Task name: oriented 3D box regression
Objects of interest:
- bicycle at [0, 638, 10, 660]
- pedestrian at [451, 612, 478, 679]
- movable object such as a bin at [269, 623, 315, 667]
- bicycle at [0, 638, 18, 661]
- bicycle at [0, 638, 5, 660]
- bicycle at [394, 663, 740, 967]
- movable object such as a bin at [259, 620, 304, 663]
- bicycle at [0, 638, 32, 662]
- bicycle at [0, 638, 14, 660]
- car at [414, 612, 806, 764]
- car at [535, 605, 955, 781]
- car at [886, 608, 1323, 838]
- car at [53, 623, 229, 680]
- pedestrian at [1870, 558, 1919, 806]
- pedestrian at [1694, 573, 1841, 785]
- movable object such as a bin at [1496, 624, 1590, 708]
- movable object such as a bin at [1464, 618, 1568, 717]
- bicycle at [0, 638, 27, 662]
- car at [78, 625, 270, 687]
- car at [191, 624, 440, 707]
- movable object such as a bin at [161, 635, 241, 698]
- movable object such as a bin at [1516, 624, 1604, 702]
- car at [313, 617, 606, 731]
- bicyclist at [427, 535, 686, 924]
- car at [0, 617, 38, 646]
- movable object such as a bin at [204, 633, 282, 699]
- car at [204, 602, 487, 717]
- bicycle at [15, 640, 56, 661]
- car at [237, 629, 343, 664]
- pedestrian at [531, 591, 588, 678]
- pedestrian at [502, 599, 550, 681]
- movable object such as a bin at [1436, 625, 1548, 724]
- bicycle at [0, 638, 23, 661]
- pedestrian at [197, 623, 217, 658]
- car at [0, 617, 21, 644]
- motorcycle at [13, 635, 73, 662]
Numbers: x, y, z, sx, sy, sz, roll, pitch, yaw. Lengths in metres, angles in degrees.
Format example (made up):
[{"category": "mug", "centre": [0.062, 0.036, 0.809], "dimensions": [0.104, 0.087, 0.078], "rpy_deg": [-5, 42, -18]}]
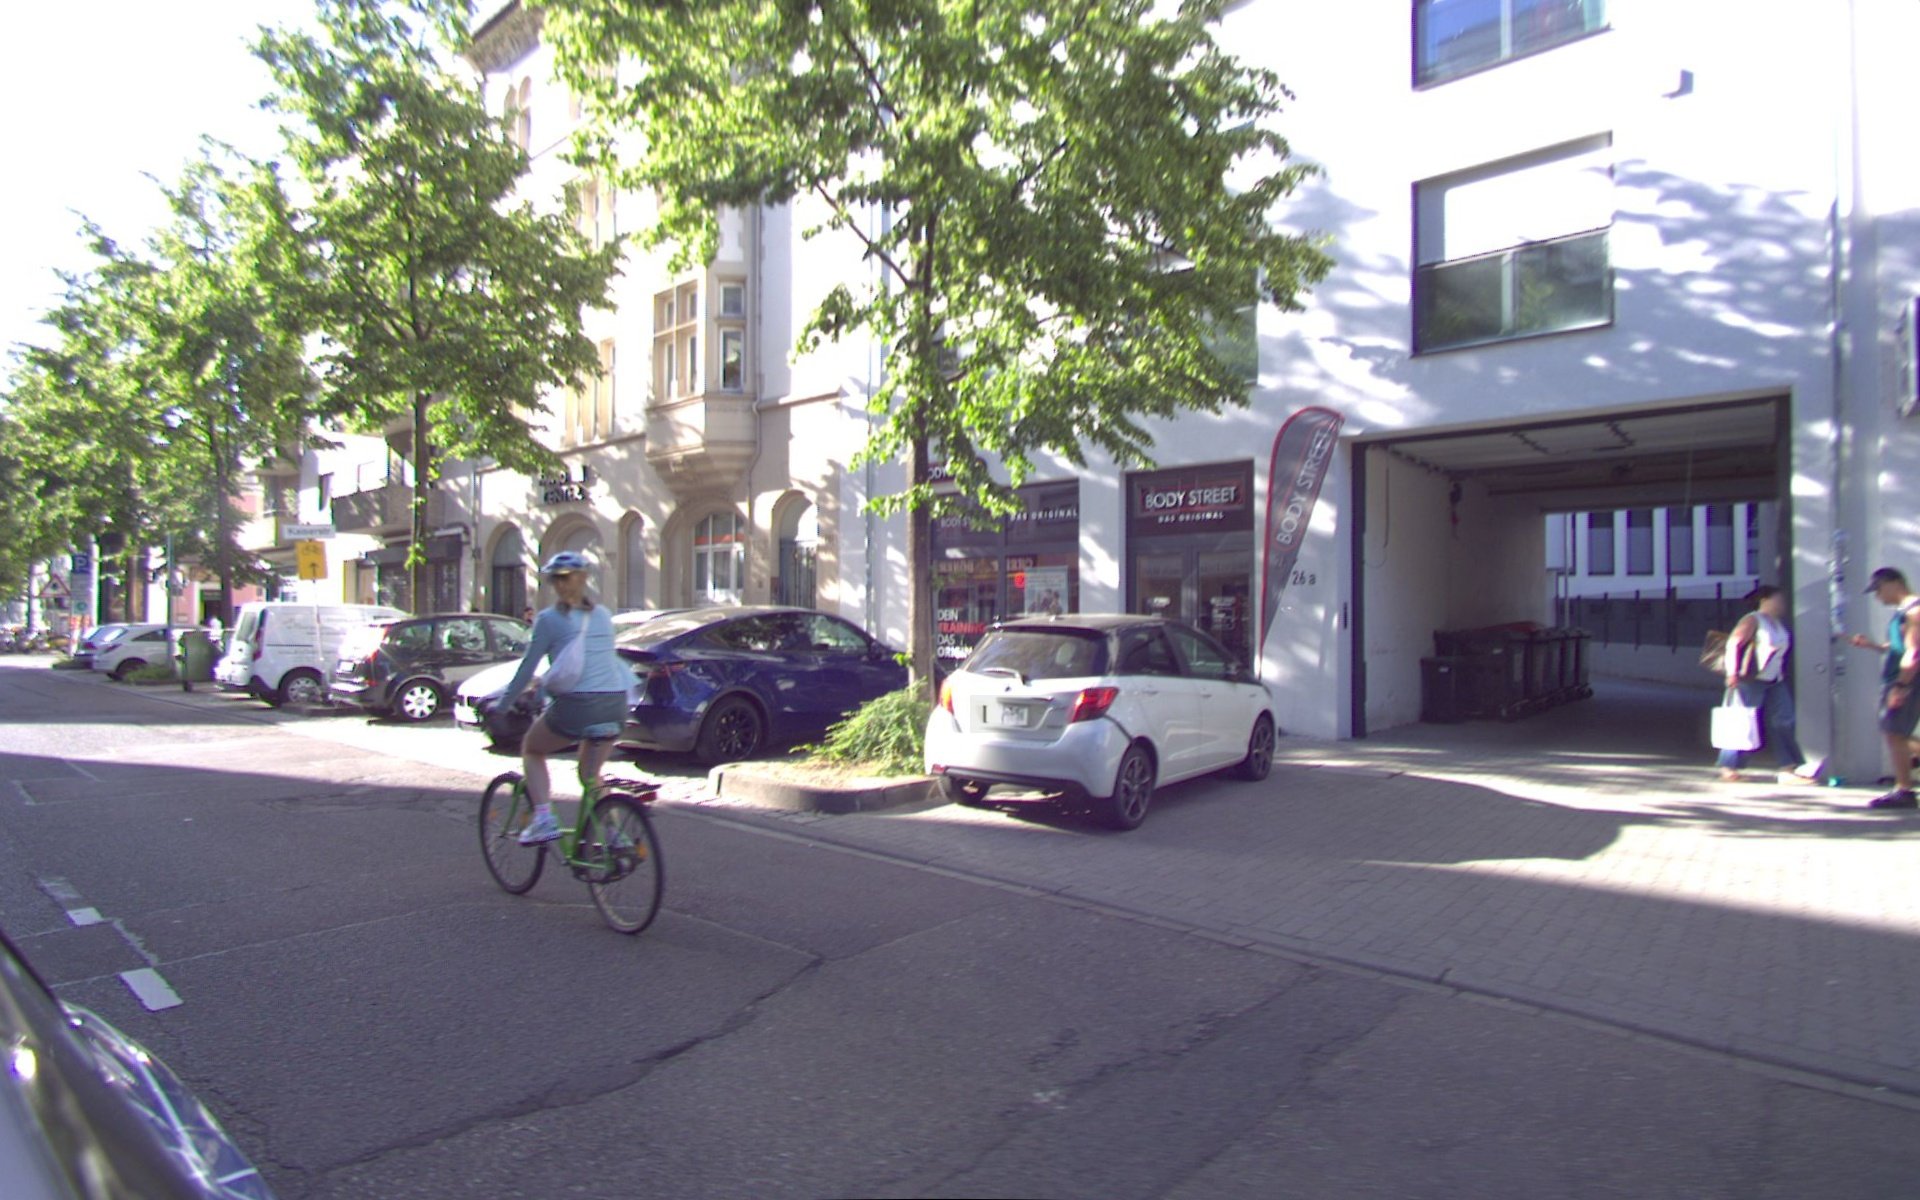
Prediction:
[{"category": "bicycle", "centre": [-45.644, 2.303, 47.152], "dimensions": [0.471, 1.037, 1.987], "rpy_deg": [-1, 0, 28]}, {"category": "pedestrian", "centre": [-12.744, 1.159, 26.022], "dimensions": [0.639, 1.684, 0.429], "rpy_deg": [-1, -1, 44]}, {"category": "movable object such as a bin", "centre": [-22.972, 1.525, 34.789], "dimensions": [1.258, 1.471, 1.022], "rpy_deg": [-2, -3, 42]}, {"category": "bicycle", "centre": [-44.872, 2.291, 46.728], "dimensions": [0.471, 1.037, 1.987], "rpy_deg": [-1, 0, 28]}, {"category": "bicycle", "centre": [-46.118, 2.313, 47.397], "dimensions": [0.471, 1.037, 1.987], "rpy_deg": [-1, 0, 28]}, {"category": "bicycle", "centre": [-2.078, 0.941, 5.162], "dimensions": [2.196, 1.178, 0.717], "rpy_deg": [-2, -2, 42]}, {"category": "movable object such as a bin", "centre": [-23.958, 1.469, 35.716], "dimensions": [1.258, 1.471, 1.022], "rpy_deg": [-2, -3, 42]}, {"category": "bicycle", "centre": [-43.538, 2.278, 45.965], "dimensions": [0.471, 1.037, 1.987], "rpy_deg": [-1, 0, 28]}, {"category": "bicycle", "centre": [-45.253, 2.297, 46.932], "dimensions": [0.471, 1.037, 1.987], "rpy_deg": [-1, 0, 28]}, {"category": "car", "centre": [-4.243, 0.961, 12.831], "dimensions": [1.945, 1.582, 4.320], "rpy_deg": [-1, -2, 41]}, {"category": "car", "centre": [-2.219, 0.883, 11.401], "dimensions": [1.979, 1.582, 4.320], "rpy_deg": [-1, -2, 41]}, {"category": "car", "centre": [1.479, 0.839, 8.779], "dimensions": [1.977, 1.470, 4.206], "rpy_deg": [-1, -2, 37]}, {"category": "car", "centre": [-25.052, 1.522, 31.046], "dimensions": [1.748, 1.475, 3.957], "rpy_deg": [1, 1, 41]}, {"category": "pedestrian", "centre": [7.352, 0.601, 7.508], "dimensions": [0.690, 1.811, 0.747], "rpy_deg": [1, -2, -38]}, {"category": "pedestrian", "centre": [7.027, 0.665, 8.830], "dimensions": [0.636, 1.748, 0.747], "rpy_deg": [1, -2, -22]}, {"category": "movable object such as a bin", "centre": [9.890, 1.092, 17.148], "dimensions": [1.104, 1.317, 1.533], "rpy_deg": [-2, -1, 40]}, {"category": "movable object such as a bin", "centre": [8.744, 1.021, 15.897], "dimensions": [1.104, 1.452, 1.533], "rpy_deg": [-2, -1, 40]}, {"category": "bicycle", "centre": [-43.998, 2.298, 46.239], "dimensions": [0.471, 1.037, 1.987], "rpy_deg": [-1, 0, 28]}, {"category": "car", "centre": [-20.825, 1.436, 26.924], "dimensions": [1.708, 1.475, 3.742], "rpy_deg": [-2, -1, 38]}, {"category": "car", "centre": [-13.066, 1.250, 20.680], "dimensions": [1.886, 1.475, 3.938], "rpy_deg": [-2, -1, 41]}, {"category": "movable object such as a bin", "centre": [-16.593, 1.435, 22.141], "dimensions": [0.869, 1.312, 1.225], "rpy_deg": [-1, -2, 40]}, {"category": "movable object such as a bin", "centre": [10.949, 1.117, 18.457], "dimensions": [1.104, 1.317, 1.533], "rpy_deg": [-2, -1, 40]}, {"category": "car", "centre": [-7.777, 1.061, 15.963], "dimensions": [1.791, 1.570, 3.760], "rpy_deg": [-1, -2, 41]}, {"category": "bicyclist", "centre": [-2.079, 0.586, 5.171], "dimensions": [1.282, 1.713, 0.717], "rpy_deg": [-2, -2, 41]}, {"category": "car", "centre": [-57.600, 1.845, 59.989], "dimensions": [1.998, 1.693, 4.082], "rpy_deg": [-1, -1, 40]}, {"category": "movable object such as a bin", "centre": [-15.482, 1.402, 21.866], "dimensions": [0.931, 1.355, 1.180], "rpy_deg": [-1, -2, 40]}, {"category": "car", "centre": [-11.187, 0.994, 18.620], "dimensions": [2.038, 1.850, 4.062], "rpy_deg": [-2, -1, 41]}, {"category": "bicycle", "centre": [-43.633, 2.385, 47.771], "dimensions": [1.493, 0.958, 0.360], "rpy_deg": [-1, 0, -8]}, {"category": "car", "centre": [-29.892, 2.052, 45.254], "dimensions": [1.889, 1.488, 3.581], "rpy_deg": [-1, -2, 18]}, {"category": "pedestrian", "centre": [-8.551, 0.724, 21.611], "dimensions": [0.762, 1.779, 0.767], "rpy_deg": [-1, 2, 39]}, {"category": "pedestrian", "centre": [-9.031, 0.821, 21.048], "dimensions": [0.726, 1.638, 0.560], "rpy_deg": [-1, 2, 39]}, {"category": "movable object such as a bin", "centre": [7.769, 1.043, 14.751], "dimensions": [1.104, 1.317, 1.533], "rpy_deg": [-2, -1, 40]}, {"category": "bicycle", "centre": [-44.429, 2.292, 46.477], "dimensions": [0.471, 1.037, 1.987], "rpy_deg": [-1, 0, 28]}, {"category": "pedestrian", "centre": [-37.384, 1.999, 50.244], "dimensions": [0.579, 1.740, 0.622], "rpy_deg": [-2, -2, 38]}, {"category": "car", "centre": [-61.834, 1.900, 63.464], "dimensions": [1.998, 1.693, 4.082], "rpy_deg": [-1, -1, 40]}, {"category": "motorcycle", "centre": [-42.107, 2.211, 46.479], "dimensions": [0.740, 1.194, 1.977], "rpy_deg": [-2, -1, 43]}]
